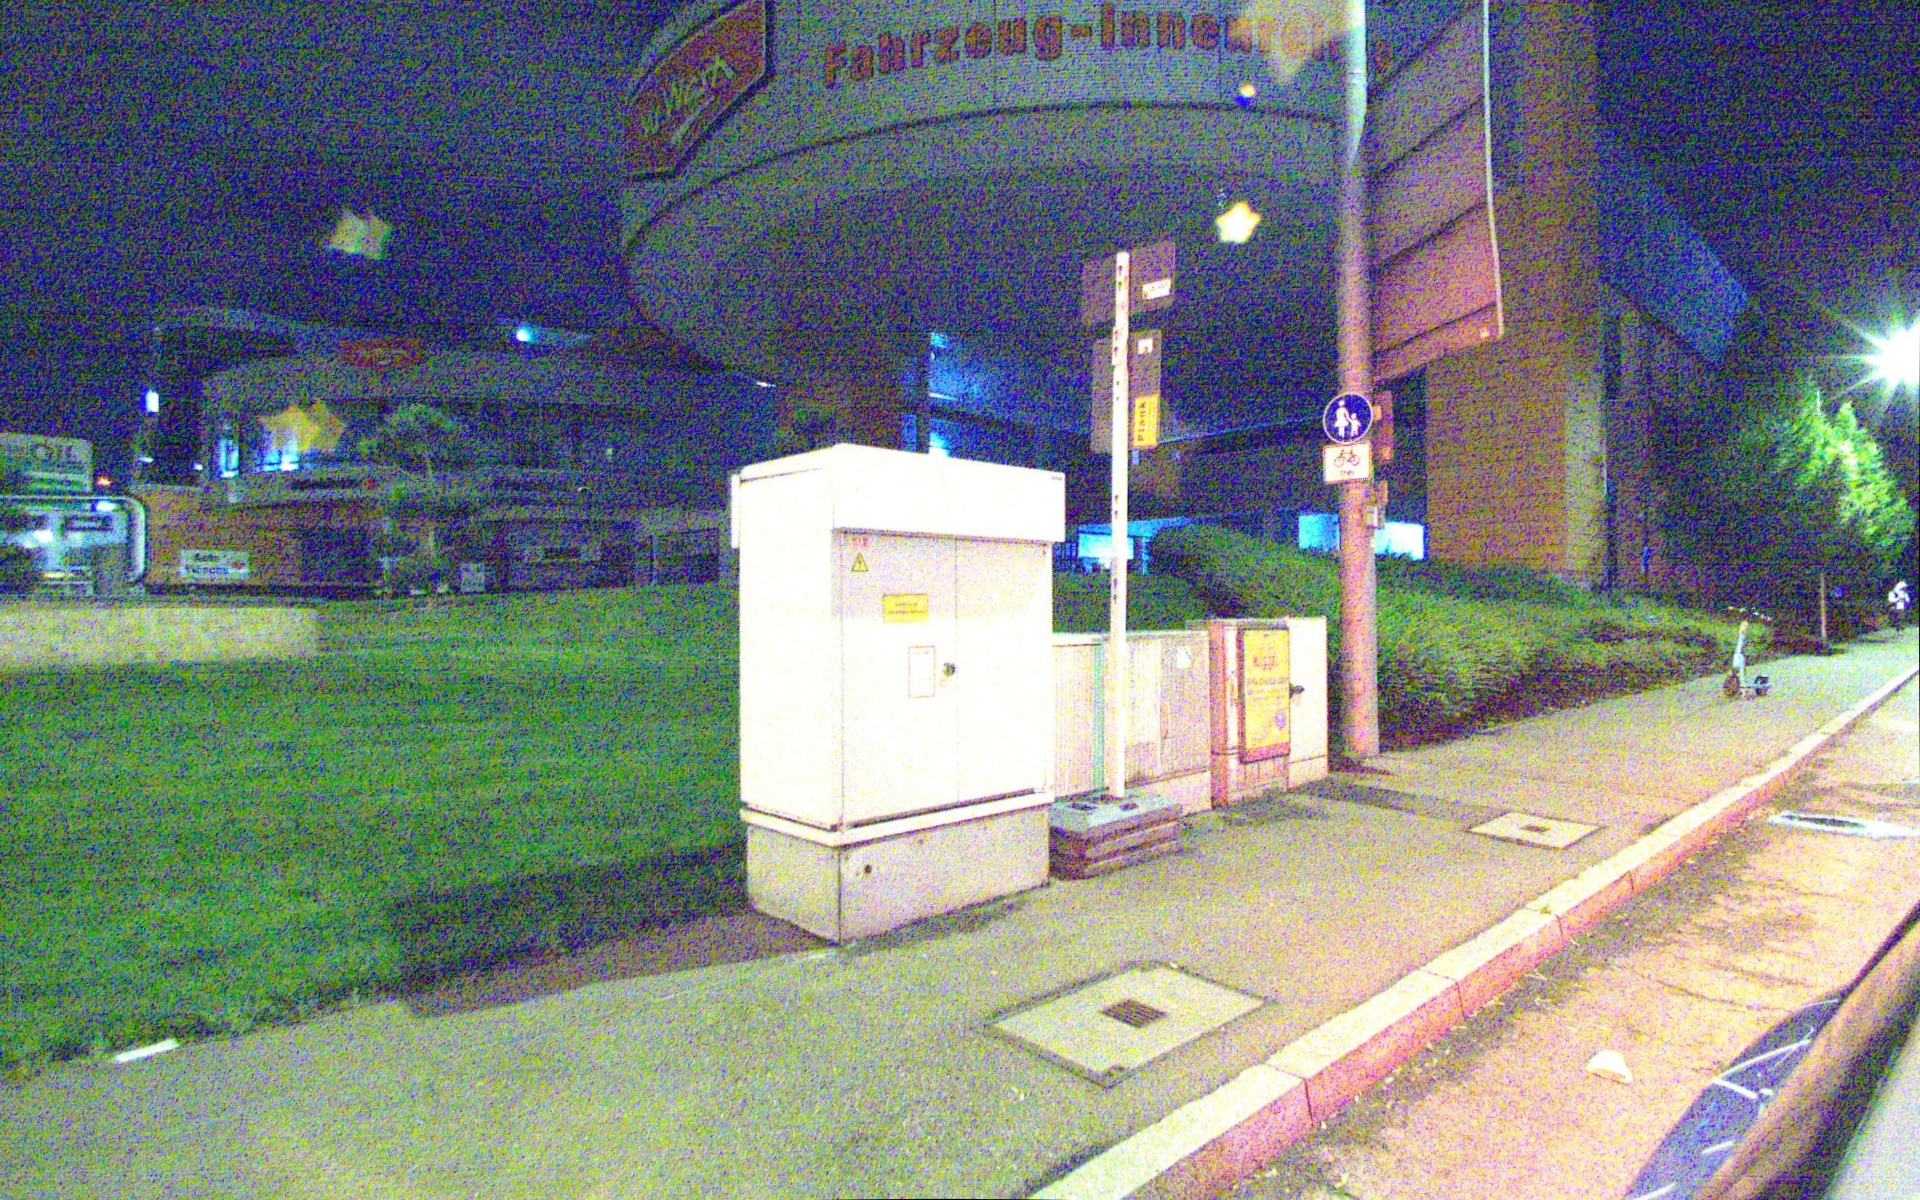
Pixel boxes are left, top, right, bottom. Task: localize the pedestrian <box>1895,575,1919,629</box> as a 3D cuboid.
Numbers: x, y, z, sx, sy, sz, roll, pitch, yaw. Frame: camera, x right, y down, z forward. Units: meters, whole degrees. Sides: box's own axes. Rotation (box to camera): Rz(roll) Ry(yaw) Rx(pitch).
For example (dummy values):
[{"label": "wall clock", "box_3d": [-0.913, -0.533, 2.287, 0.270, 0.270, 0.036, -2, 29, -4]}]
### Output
[{"label": "pedestrian", "box_3d": [33.411, 0.065, 35.504, 0.597, 1.842, 0.824, -1, 0, -40]}]
